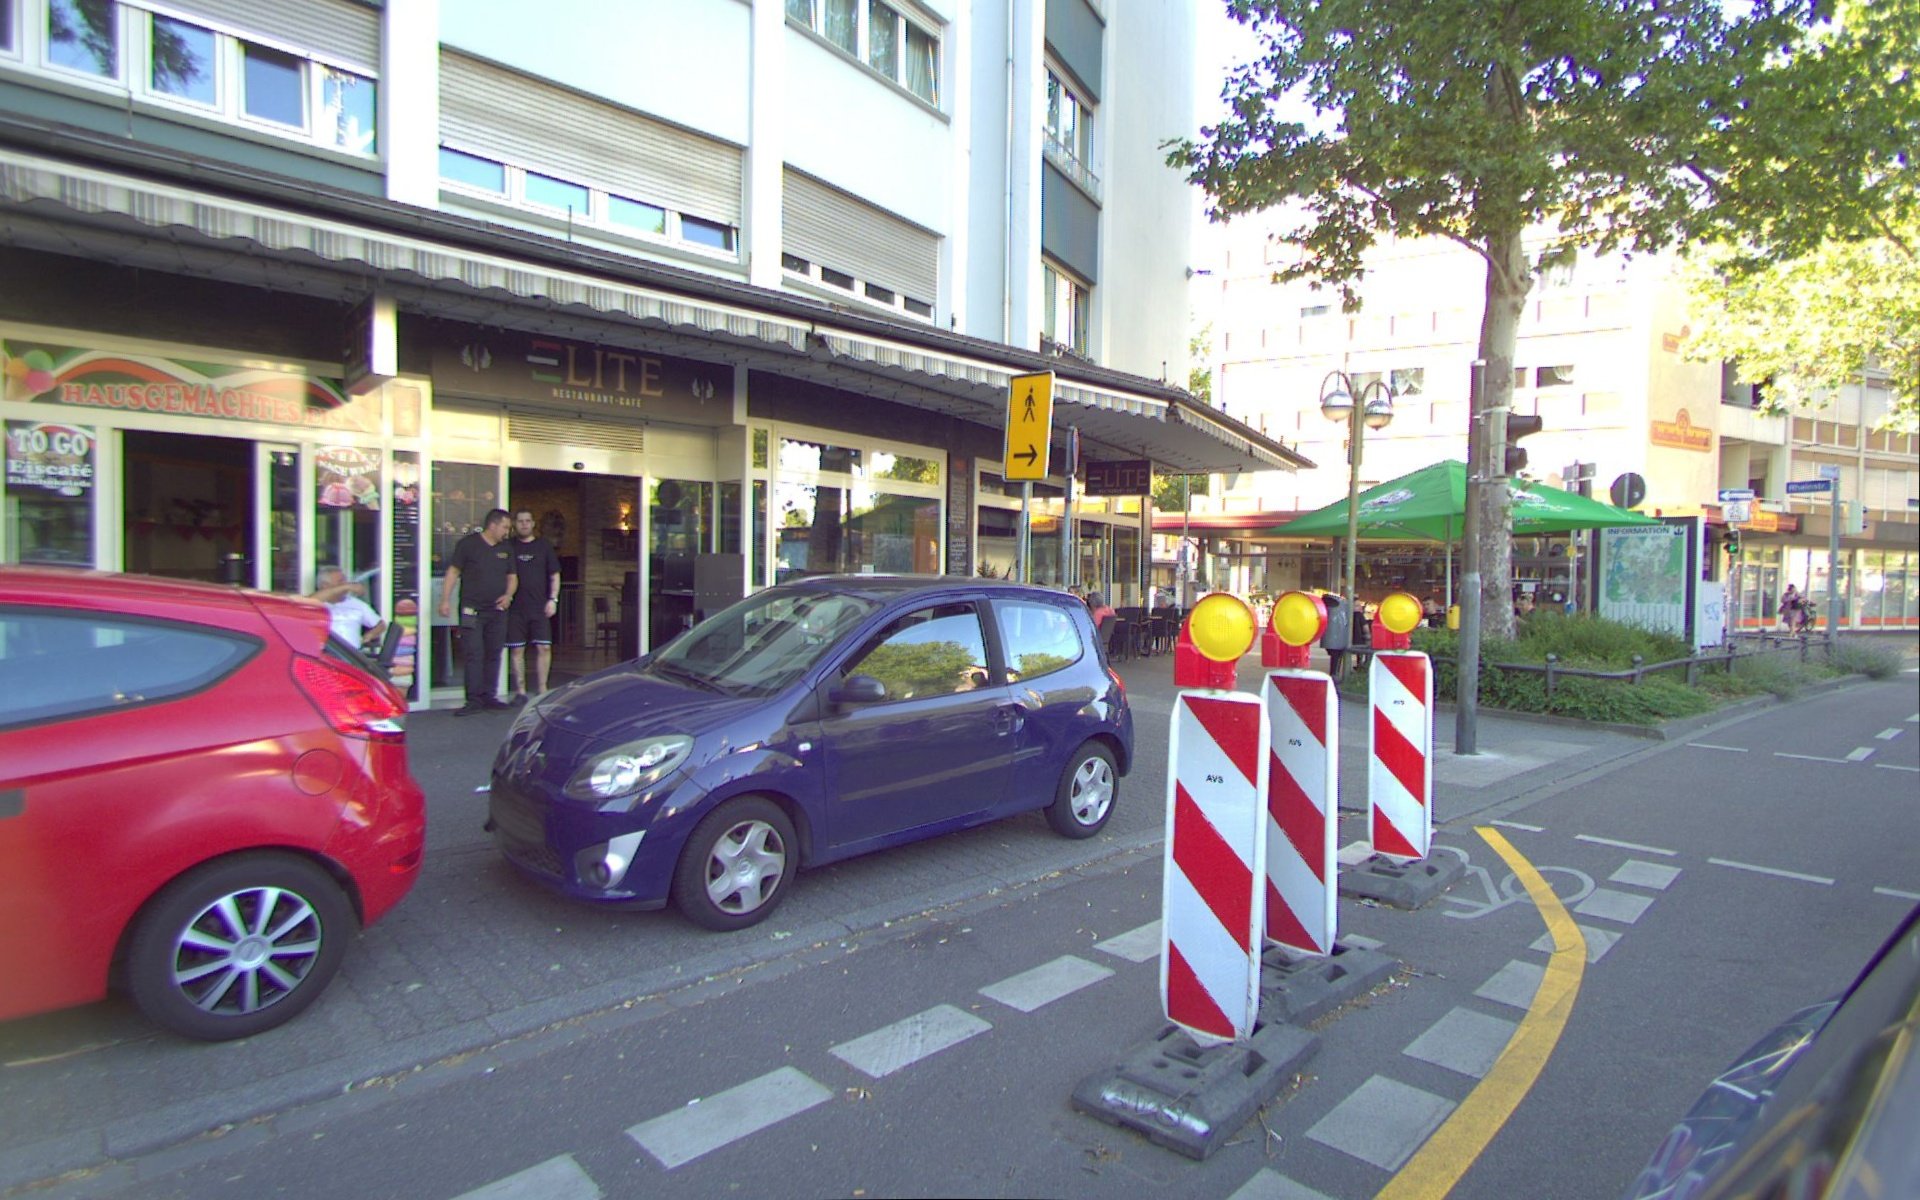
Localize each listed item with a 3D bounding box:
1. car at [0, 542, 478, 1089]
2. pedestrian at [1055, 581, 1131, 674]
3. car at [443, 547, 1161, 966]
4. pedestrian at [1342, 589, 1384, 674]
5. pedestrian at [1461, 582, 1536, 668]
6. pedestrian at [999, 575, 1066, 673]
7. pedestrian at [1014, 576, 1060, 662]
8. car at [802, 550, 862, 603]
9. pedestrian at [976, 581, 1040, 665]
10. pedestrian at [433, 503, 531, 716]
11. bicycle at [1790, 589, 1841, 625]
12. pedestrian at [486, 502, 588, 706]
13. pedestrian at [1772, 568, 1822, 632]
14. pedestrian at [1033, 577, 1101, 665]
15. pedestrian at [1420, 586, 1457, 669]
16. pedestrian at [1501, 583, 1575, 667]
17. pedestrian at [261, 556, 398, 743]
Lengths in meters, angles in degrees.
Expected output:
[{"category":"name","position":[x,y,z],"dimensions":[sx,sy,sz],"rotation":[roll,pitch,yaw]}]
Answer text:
[{"category":"car","position":[-3.644,0.563,2.857],"dimensions":[1.667,1.446,3.786],"rotation":[5,4,44]},{"category":"pedestrian","position":[1.853,0.367,14.033],"dimensions":[0.838,1.213,0.644],"rotation":[3,1,27]},{"category":"car","position":[-0.644,0.532,5.503],"dimensions":[3.545,1.484,1.621],"rotation":[0,4,-44]},{"category":"pedestrian","position":[5.940,0.453,14.921],"dimensions":[0.460,1.235,0.432],"rotation":[1,0,5]},{"category":"pedestrian","position":[8.415,0.373,15.828],"dimensions":[0.752,1.301,0.721],"rotation":[0,1,-27]},{"category":"pedestrian","position":[0.990,0.314,13.758],"dimensions":[0.644,1.267,0.711],"rotation":[3,1,25]},{"category":"pedestrian","position":[1.163,0.274,15.284],"dimensions":[0.541,1.259,0.521],"rotation":[2,1,-7]},{"category":"car","position":[-4.530,-0.842,36.372],"dimensions":[1.960,1.771,4.004],"rotation":[1,1,-5]},{"category":"pedestrian","position":[0.700,0.320,14.662],"dimensions":[0.710,1.144,0.645],"rotation":[3,1,25]},{"category":"pedestrian","position":[-4.144,0.065,8.760],"dimensions":[0.587,1.756,0.589],"rotation":[1,3,-40]},{"category":"bicycle","position":[28.119,0.221,33.264],"dimensions":[1.933,1.157,0.530],"rotation":[0,1,-26]},{"category":"pedestrian","position":[-3.889,0.018,9.300],"dimensions":[0.636,1.780,0.611],"rotation":[1,3,-43]},{"category":"pedestrian","position":[23.959,-0.005,28.988],"dimensions":[0.883,1.779,0.751],"rotation":[0,1,-24]},{"category":"pedestrian","position":[1.584,0.297,14.923],"dimensions":[0.664,1.233,0.706],"rotation":[3,1,43]},{"category":"pedestrian","position":[7.452,0.419,15.777],"dimensions":[0.427,1.234,0.465],"rotation":[3,2,20]},{"category":"pedestrian","position":[9.265,0.383,16.231],"dimensions":[0.753,1.301,0.720],"rotation":[0,1,-28]},{"category":"pedestrian","position":[-4.825,0.320,7.716],"dimensions":[0.765,1.247,1.207],"rotation":[-1,5,-38]}]
